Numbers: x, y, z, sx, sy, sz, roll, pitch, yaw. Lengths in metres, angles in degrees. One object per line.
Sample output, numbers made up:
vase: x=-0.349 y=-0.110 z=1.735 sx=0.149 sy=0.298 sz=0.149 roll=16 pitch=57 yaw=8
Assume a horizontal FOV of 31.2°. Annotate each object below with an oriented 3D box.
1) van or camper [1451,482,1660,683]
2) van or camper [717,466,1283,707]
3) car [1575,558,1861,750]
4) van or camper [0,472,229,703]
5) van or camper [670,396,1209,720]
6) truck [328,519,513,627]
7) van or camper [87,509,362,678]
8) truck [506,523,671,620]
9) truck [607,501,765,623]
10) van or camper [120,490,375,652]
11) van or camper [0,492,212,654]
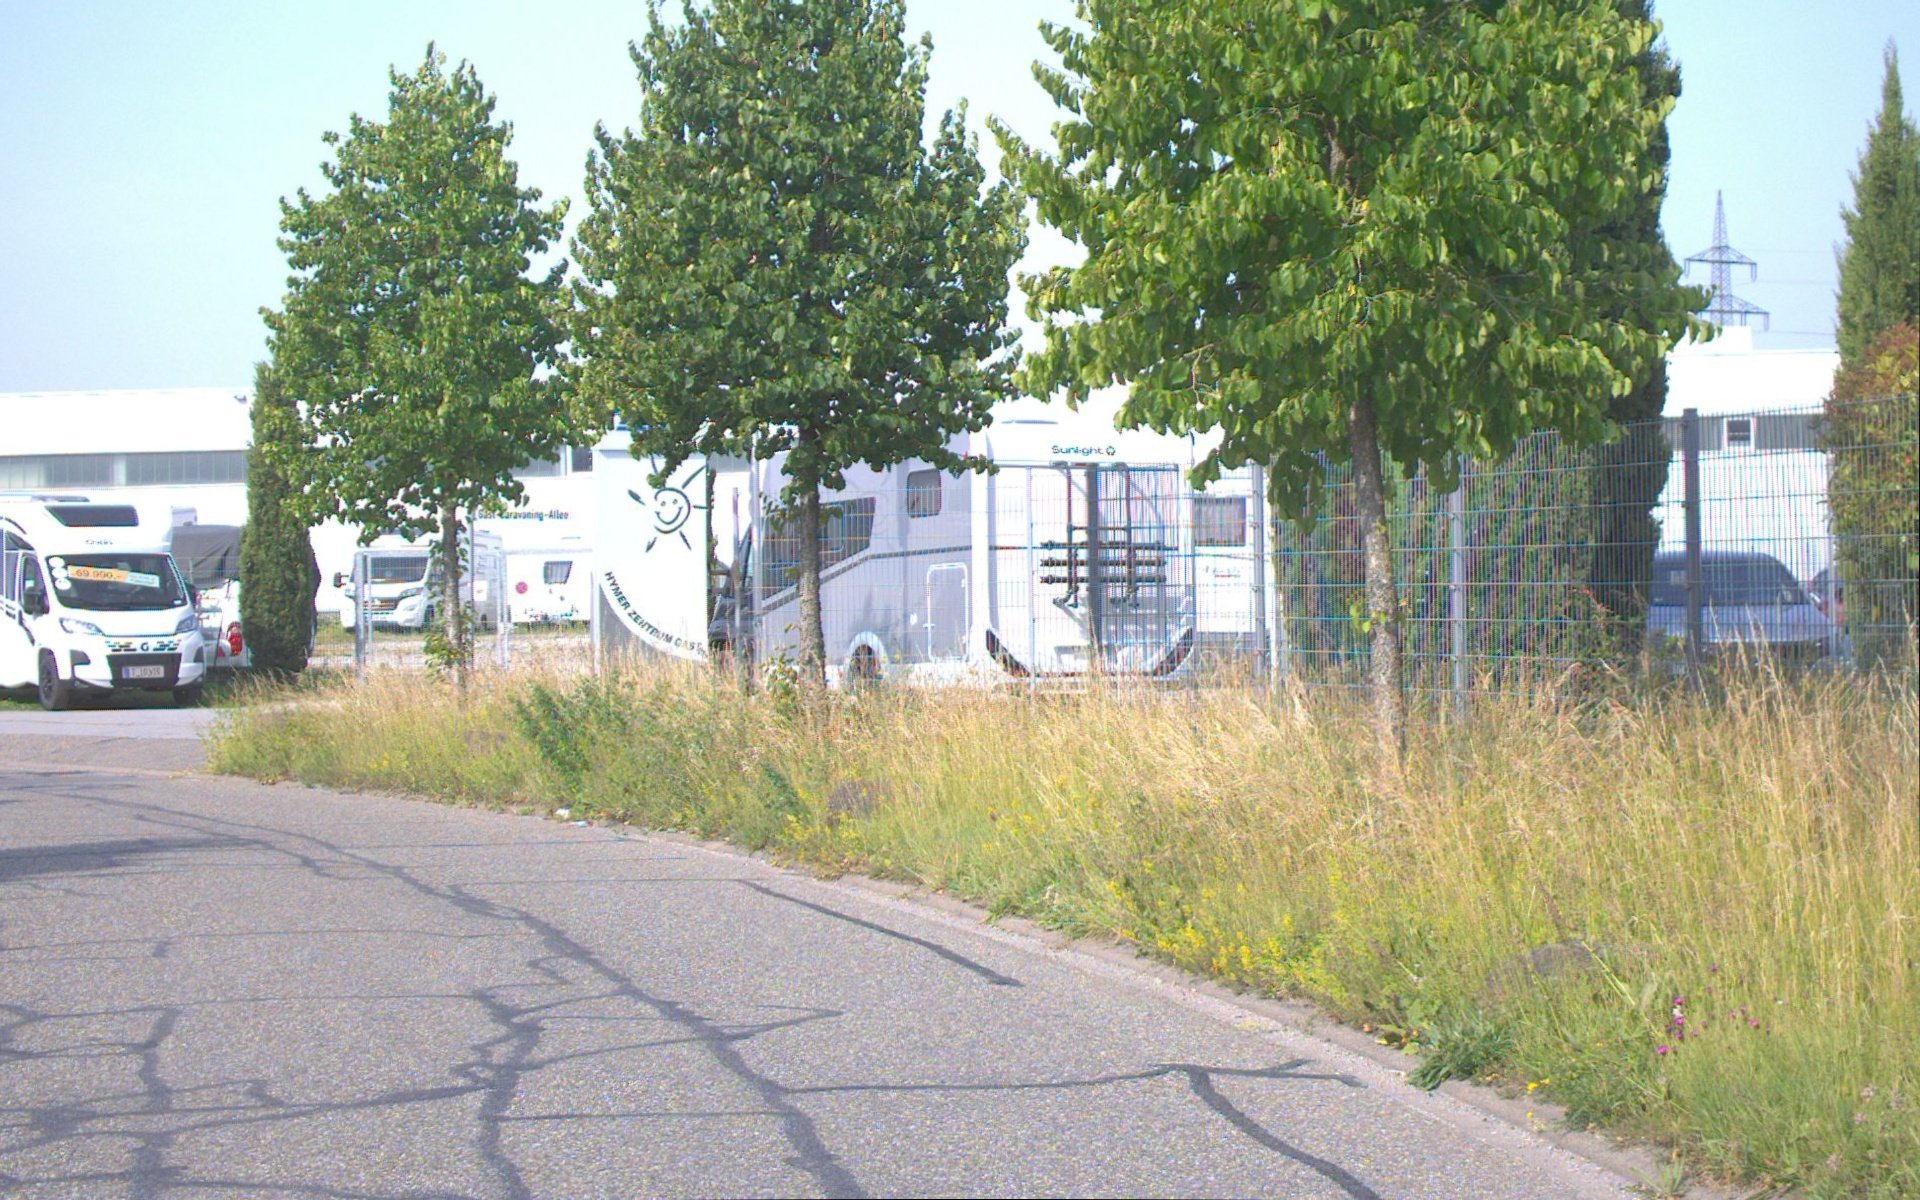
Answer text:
van or camper: x=9.029 y=-0.244 z=52.732 sx=2.320 sy=2.854 sz=6.609 roll=-1 pitch=0 yaw=3
van or camper: x=0.498 y=-0.179 z=45.555 sx=7.258 sy=3.021 sz=2.585 roll=-1 pitch=0 yaw=-1
car: x=6.984 y=0.450 z=32.050 sx=1.722 sy=1.637 sz=4.000 roll=1 pitch=1 yaw=-1
van or camper: x=-12.449 y=-0.193 z=47.323 sx=2.331 sy=2.933 sz=6.971 roll=-1 pitch=1 yaw=-33
van or camper: x=-0.421 y=-0.380 z=33.949 sx=2.349 sy=2.838 sz=7.343 roll=-1 pitch=0 yaw=-26
truck: x=-12.849 y=-0.672 z=82.600 sx=2.451 sy=2.463 sz=8.000 roll=0 pitch=1 yaw=6
van or camper: x=-11.680 y=-0.159 z=55.206 sx=2.483 sy=2.550 sz=6.625 roll=0 pitch=1 yaw=5
truck: x=-9.092 y=-0.722 z=84.929 sx=2.451 sy=2.257 sz=8.000 roll=0 pitch=1 yaw=6
truck: x=-6.602 y=-0.933 z=83.989 sx=2.451 sy=2.817 sz=8.000 roll=0 pitch=1 yaw=6
van or camper: x=-14.238 y=-0.628 z=69.401 sx=2.949 sy=3.073 sz=7.969 roll=0 pitch=1 yaw=4
van or camper: x=-17.699 y=-0.589 z=69.657 sx=2.799 sy=3.073 sz=7.969 roll=0 pitch=1 yaw=4
